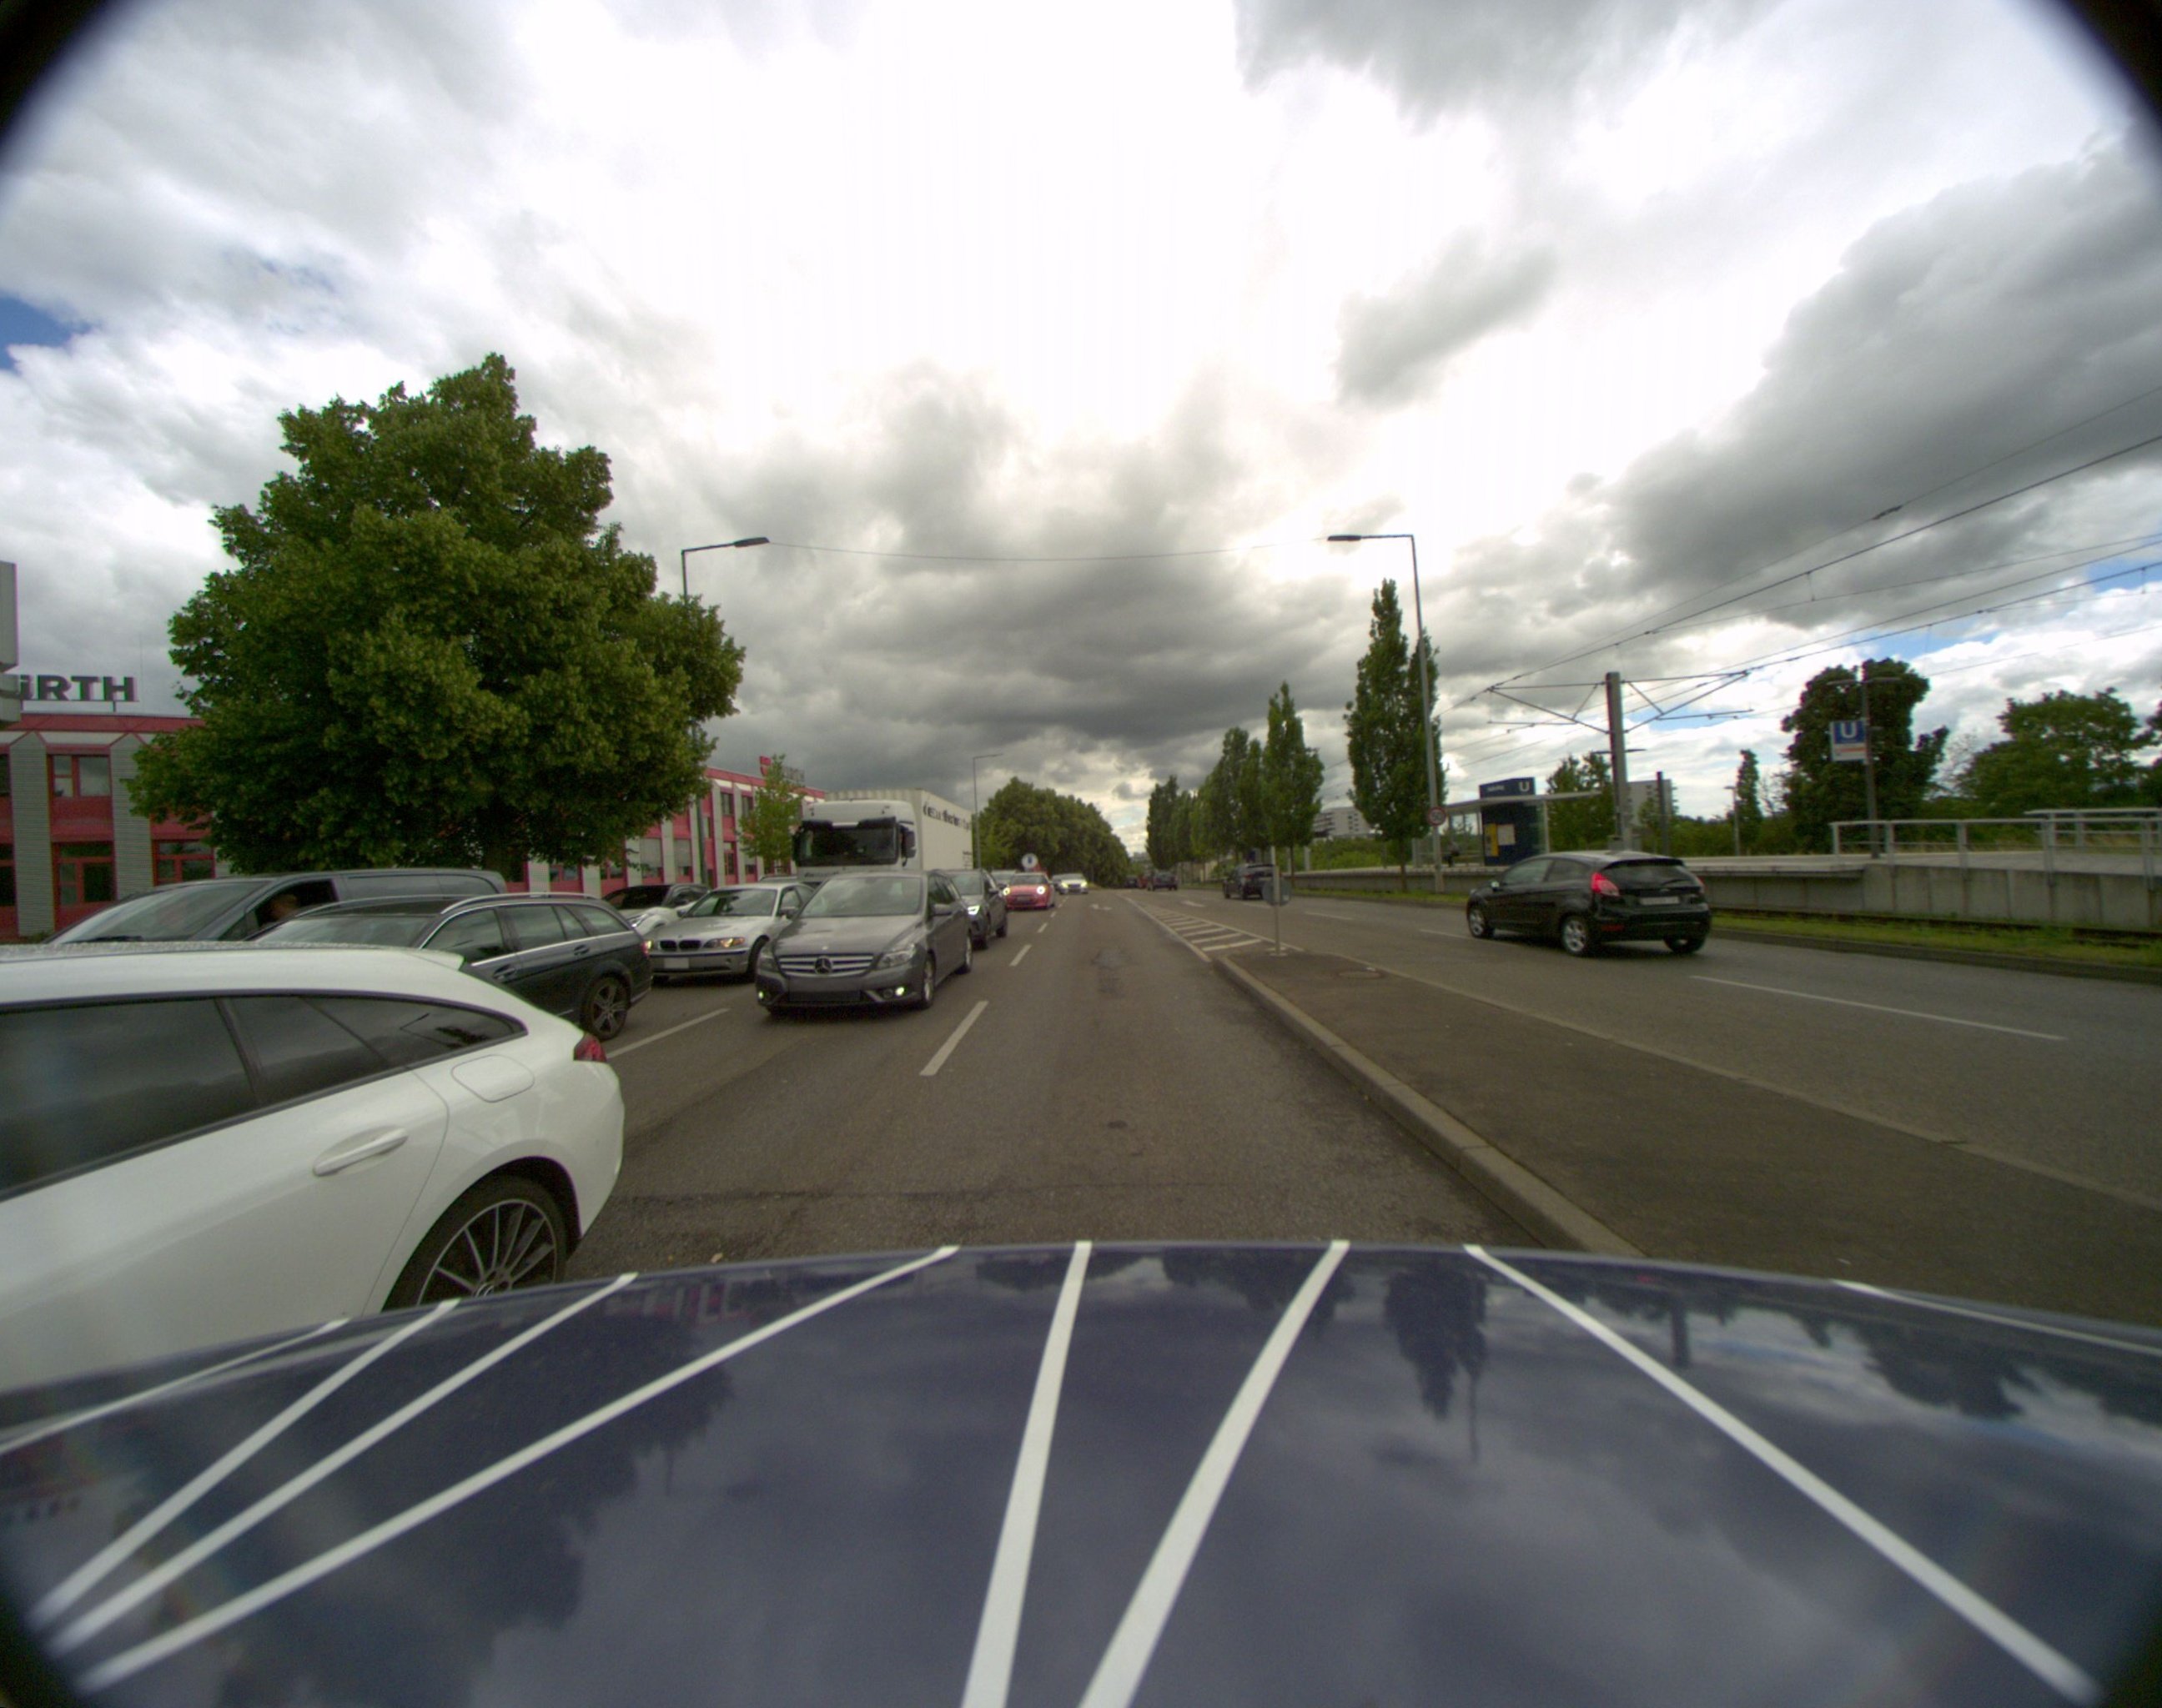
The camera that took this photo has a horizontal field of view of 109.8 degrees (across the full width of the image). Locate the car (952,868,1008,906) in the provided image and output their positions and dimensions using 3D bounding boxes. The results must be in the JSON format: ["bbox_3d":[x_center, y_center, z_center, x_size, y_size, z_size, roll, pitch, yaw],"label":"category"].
[{"bbox_3d":[-4.462,1.447,34.239,1.851,1.521,4.377,-2,-1,0],"label":"car"}]

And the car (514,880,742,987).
[{"bbox_3d":[-8.603,1.421,14.951,1.844,1.507,4.106,-6,0,1],"label":"car"}]

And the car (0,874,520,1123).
[{"bbox_3d":[-8.849,1.226,8.317,1.763,1.765,4.675,-2,1,2],"label":"car"}]

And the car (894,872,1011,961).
[{"bbox_3d":[-2.449,1.151,15.362,1.628,1.484,3.838,-2,-1,1],"label":"car"}]

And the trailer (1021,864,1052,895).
[{"bbox_3d":[-2.983,1.705,51.689,1.775,1.651,3.994,-2,4,1],"label":"trailer"}]

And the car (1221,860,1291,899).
[{"bbox_3d":[7.046,1.012,31.028,1.700,1.440,3.934,-2,-1,-3],"label":"car"}]

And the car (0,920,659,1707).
[{"bbox_3d":[-2.680,1.069,0.727,1.848,1.498,4.530,-2,1,2],"label":"car"}]

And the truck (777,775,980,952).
[{"bbox_3d":[-5.255,0.234,22.238,2.809,3.880,10.183,-2,0,2],"label":"truck"}]

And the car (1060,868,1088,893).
[{"bbox_3d":[-0.424,1.794,52.241,1.804,1.403,4.317,-2,1,1],"label":"car"}]

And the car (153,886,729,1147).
[{"bbox_3d":[-5.334,1.193,7.315,1.750,1.476,4.355,-2,1,1],"label":"car"}]

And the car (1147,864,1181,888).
[{"bbox_3d":[5.715,1.492,52.527,1.813,1.440,3.934,-2,0,-1],"label":"car"}]

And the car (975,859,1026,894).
[{"bbox_3d":[-4.052,1.104,39.026,1.797,1.521,4.219,-2,1,4],"label":"car"}]

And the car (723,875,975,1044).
[{"bbox_3d":[-2.505,1.064,9.305,1.750,1.499,4.048,-2,-1,1],"label":"car"}]

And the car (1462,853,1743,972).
[{"bbox_3d":[7.549,0.745,11.482,1.700,1.440,3.660,-2,0,0],"label":"car"}]

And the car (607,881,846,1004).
[{"bbox_3d":[-5.379,1.249,12.255,1.750,1.374,4.290,-2,1,1],"label":"car"}]

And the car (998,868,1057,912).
[{"bbox_3d":[-1.966,1.336,29.005,1.825,1.497,3.495,-2,-1,2],"label":"car"}]

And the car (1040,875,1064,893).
[{"bbox_3d":[-2.439,2.558,64.883,1.804,1.403,4.318,-2,-2,1],"label":"car"}]

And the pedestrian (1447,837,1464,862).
[{"bbox_3d":[17.835,-0.218,36.189,0.601,1.148,0.447,-2,1,1],"label":"pedestrian"}]

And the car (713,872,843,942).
[{"bbox_3d":[-8.454,1.419,21.624,1.865,1.648,4.209,-4,-1,1],"label":"car"}]

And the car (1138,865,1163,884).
[{"bbox_3d":[5.902,1.759,64.949,1.700,1.440,3.934,-2,0,-1],"label":"car"}]

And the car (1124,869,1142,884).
[{"bbox_3d":[6.044,2.600,88.289,1.700,1.440,3.933,-4,1,-1],"label":"car"}]
